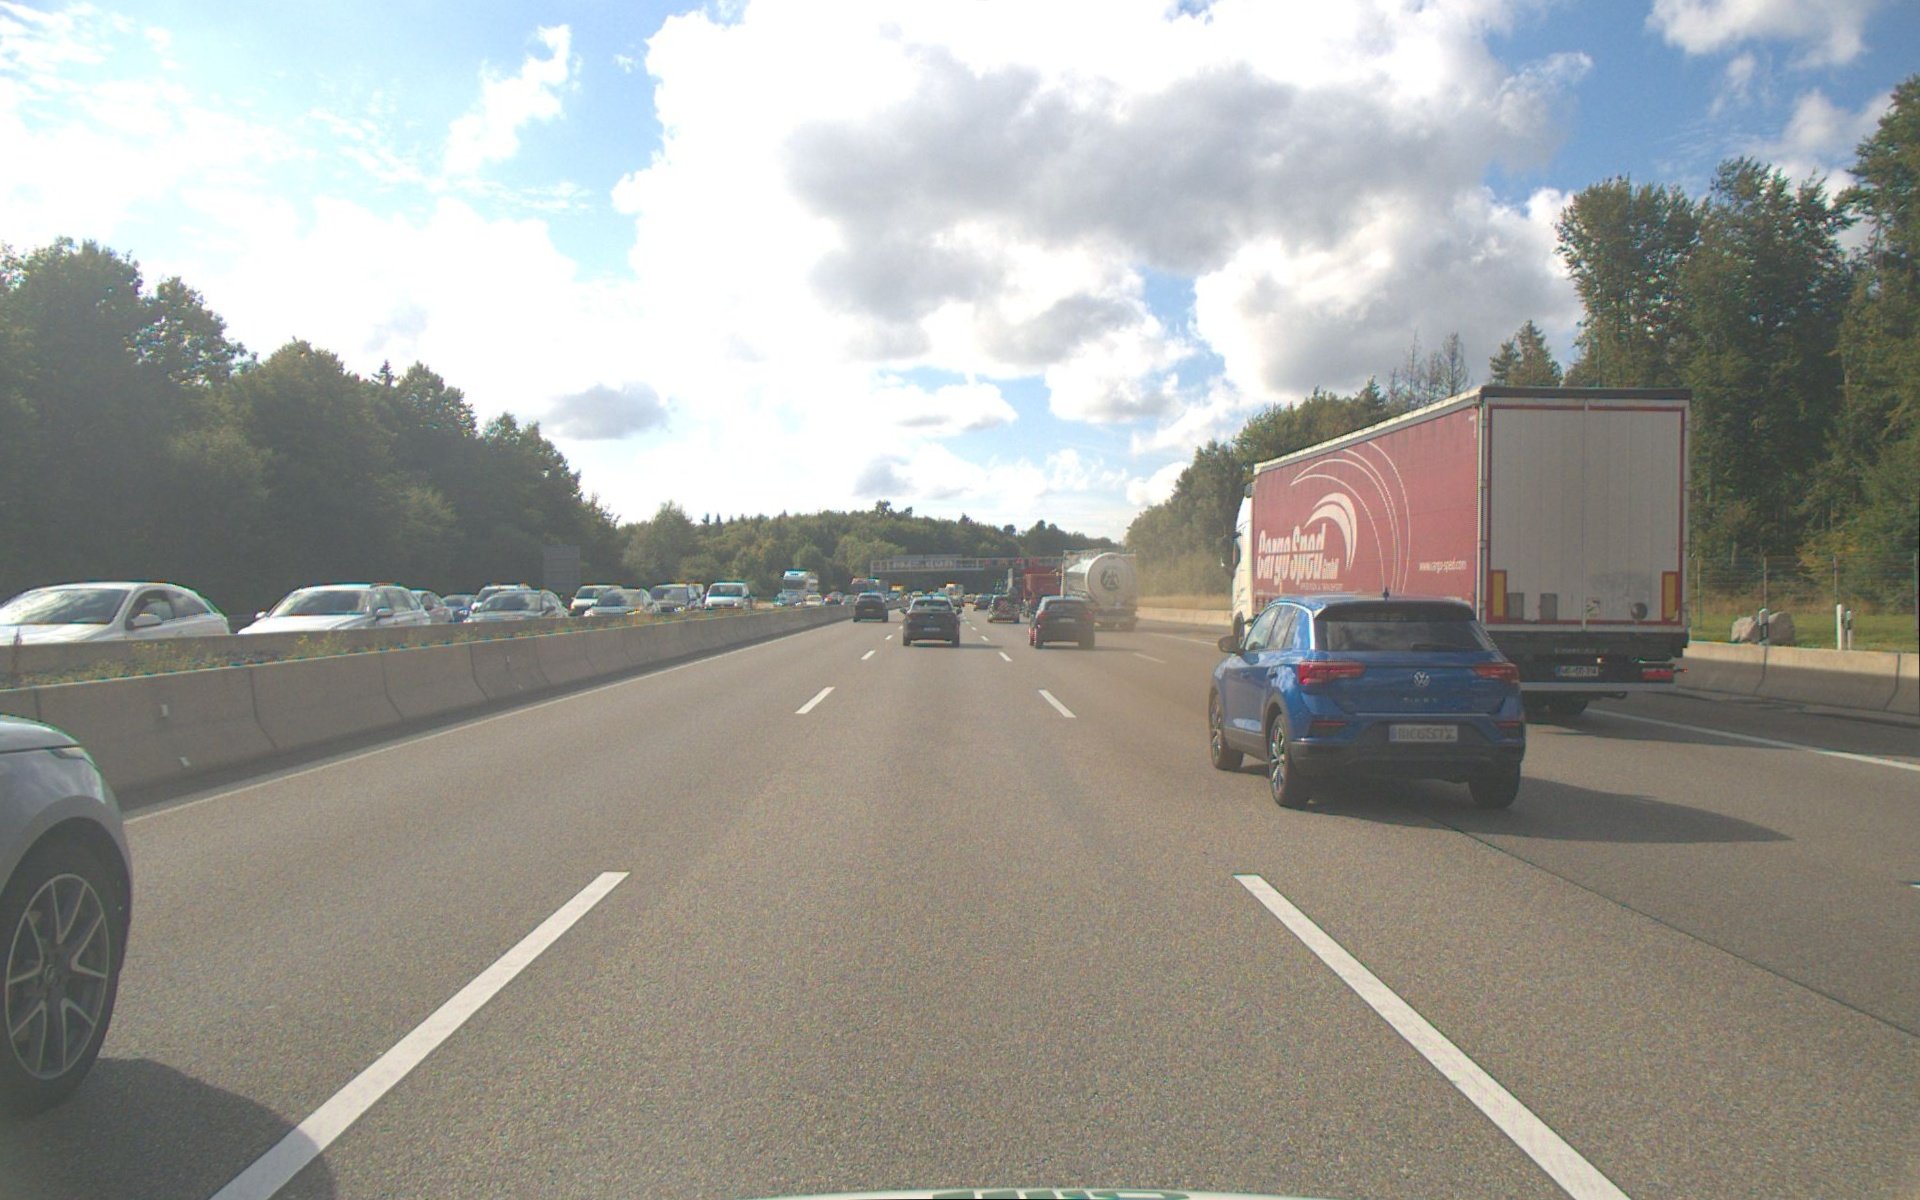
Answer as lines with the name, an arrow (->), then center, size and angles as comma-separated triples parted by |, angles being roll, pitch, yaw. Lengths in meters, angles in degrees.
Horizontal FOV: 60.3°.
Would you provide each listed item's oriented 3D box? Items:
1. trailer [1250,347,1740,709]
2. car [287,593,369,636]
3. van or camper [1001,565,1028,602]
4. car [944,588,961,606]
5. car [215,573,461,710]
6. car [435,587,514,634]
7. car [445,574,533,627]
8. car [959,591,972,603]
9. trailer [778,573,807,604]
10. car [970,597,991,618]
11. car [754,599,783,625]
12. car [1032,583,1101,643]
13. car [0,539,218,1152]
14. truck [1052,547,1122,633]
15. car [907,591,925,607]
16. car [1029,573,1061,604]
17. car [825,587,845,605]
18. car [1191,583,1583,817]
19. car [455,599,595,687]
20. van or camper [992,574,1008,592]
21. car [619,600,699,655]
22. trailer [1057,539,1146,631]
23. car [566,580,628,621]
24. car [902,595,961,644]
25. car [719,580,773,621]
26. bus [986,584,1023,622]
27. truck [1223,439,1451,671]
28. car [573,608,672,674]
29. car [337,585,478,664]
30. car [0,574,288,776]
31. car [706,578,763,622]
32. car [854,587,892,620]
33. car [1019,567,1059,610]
trailer -> 7.372, -0.634, 25.927 | 2.976, 4.106, 13.885 | 1, -2, -1
car -> -29.603, 0.701, 77.597 | 1.952, 1.897, 4.550 | 1, -2, 1
van or camper -> 5.020, -1.469, 153.105 | 2.303, 3.199, 5.710 | 1, -2, 0
car -> -0.929, -0.320, 196.787 | 1.953, 2.049, 3.998 | -1, -2, -1
car -> -9.425, 0.644, 25.518 | 1.952, 1.897, 4.550 | 1, -2, 1
car -> -21.033, 0.494, 71.796 | 1.952, 1.897, 4.550 | 1, -2, 1
car -> -18.095, 0.063, 63.733 | 1.952, 1.897, 4.550 | 1, -2, 1
car -> 0.712, -0.398, 220.130 | 1.641, 1.620, 3.628 | -1, 0, 0
trailer -> -18.174, -1.174, 179.429 | 2.237, 3.077, 7.604 | 1, -2, 0
car -> 2.061, 0.771, 167.152 | 1.953, 2.049, 3.998 | 1, -1, -2
car -> -16.182, 1.011, 139.937 | 1.952, 2.049, 3.999 | 1, -2, 0
car -> 3.142, 0.405, 49.393 | 1.762, 1.673, 3.999 | 1, -1, -1
car -> -3.445, 0.633, 3.154 | 1.861, 1.635, 5.103 | 1, -1, -2
truck -> 6.463, -0.441, 85.277 | 2.983, 4.233, 7.125 | 0, -1, -1
car -> -5.265, -0.141, 199.119 | 2.111, 1.807, 3.999 | 1, -1, -1
car -> 5.985, -0.784, 116.275 | 1.953, 2.049, 3.998 | 1, -2, -1
car -> -14.133, -0.445, 186.664 | 1.952, 2.049, 4.000 | 0, 0, 0
car -> 3.237, 0.654, 13.571 | 1.885, 1.568, 4.644 | 0, 1, -2
car -> -10.096, 1.011, 38.760 | 1.952, 1.897, 4.550 | 1, -2, 1
van or camper -> 5.732, -2.369, 236.657 | 2.041, 2.536, 4.224 | 0, 0, -1
car -> -10.907, 1.038, 60.214 | 1.952, 1.897, 4.550 | 1, -2, 1
trailer -> 6.598, -0.550, 79.050 | 2.974, 4.086, 12.240 | 0, -1, -1
car -> -18.069, 0.042, 82.608 | 1.952, 1.897, 4.550 | 1, -2, 1
car -> -0.863, 0.598, 50.324 | 1.699, 1.389, 3.999 | 1, -1, -1
car -> -10.704, 0.061, 83.058 | 1.952, 1.897, 4.550 | 1, -2, 1
bus -> 2.553, 0.194, 94.792 | 1.953, 2.049, 3.999 | 1, -2, -1
truck -> 7.277, -0.727, 32.791 | 3.018, 4.135, 6.067 | 1, -2, -1
car -> -10.187, 1.258, 50.290 | 1.952, 1.897, 4.550 | 1, -2, 1
car -> -14.101, 0.662, 42.490 | 1.952, 1.897, 4.550 | 1, -2, 1
car -> -9.236, 0.761, 17.904 | 1.917, 1.897, 4.550 | 1, -2, 1
car -> -10.630, 0.040, 78.256 | 1.952, 1.897, 4.550 | 1, -2, 1
car -> -4.876, 0.193, 92.744 | 1.953, 1.807, 4.000 | 0, 0, 0
car -> 5.963, -0.858, 126.155 | 2.807, 3.044, 5.148 | 1, -2, 0
